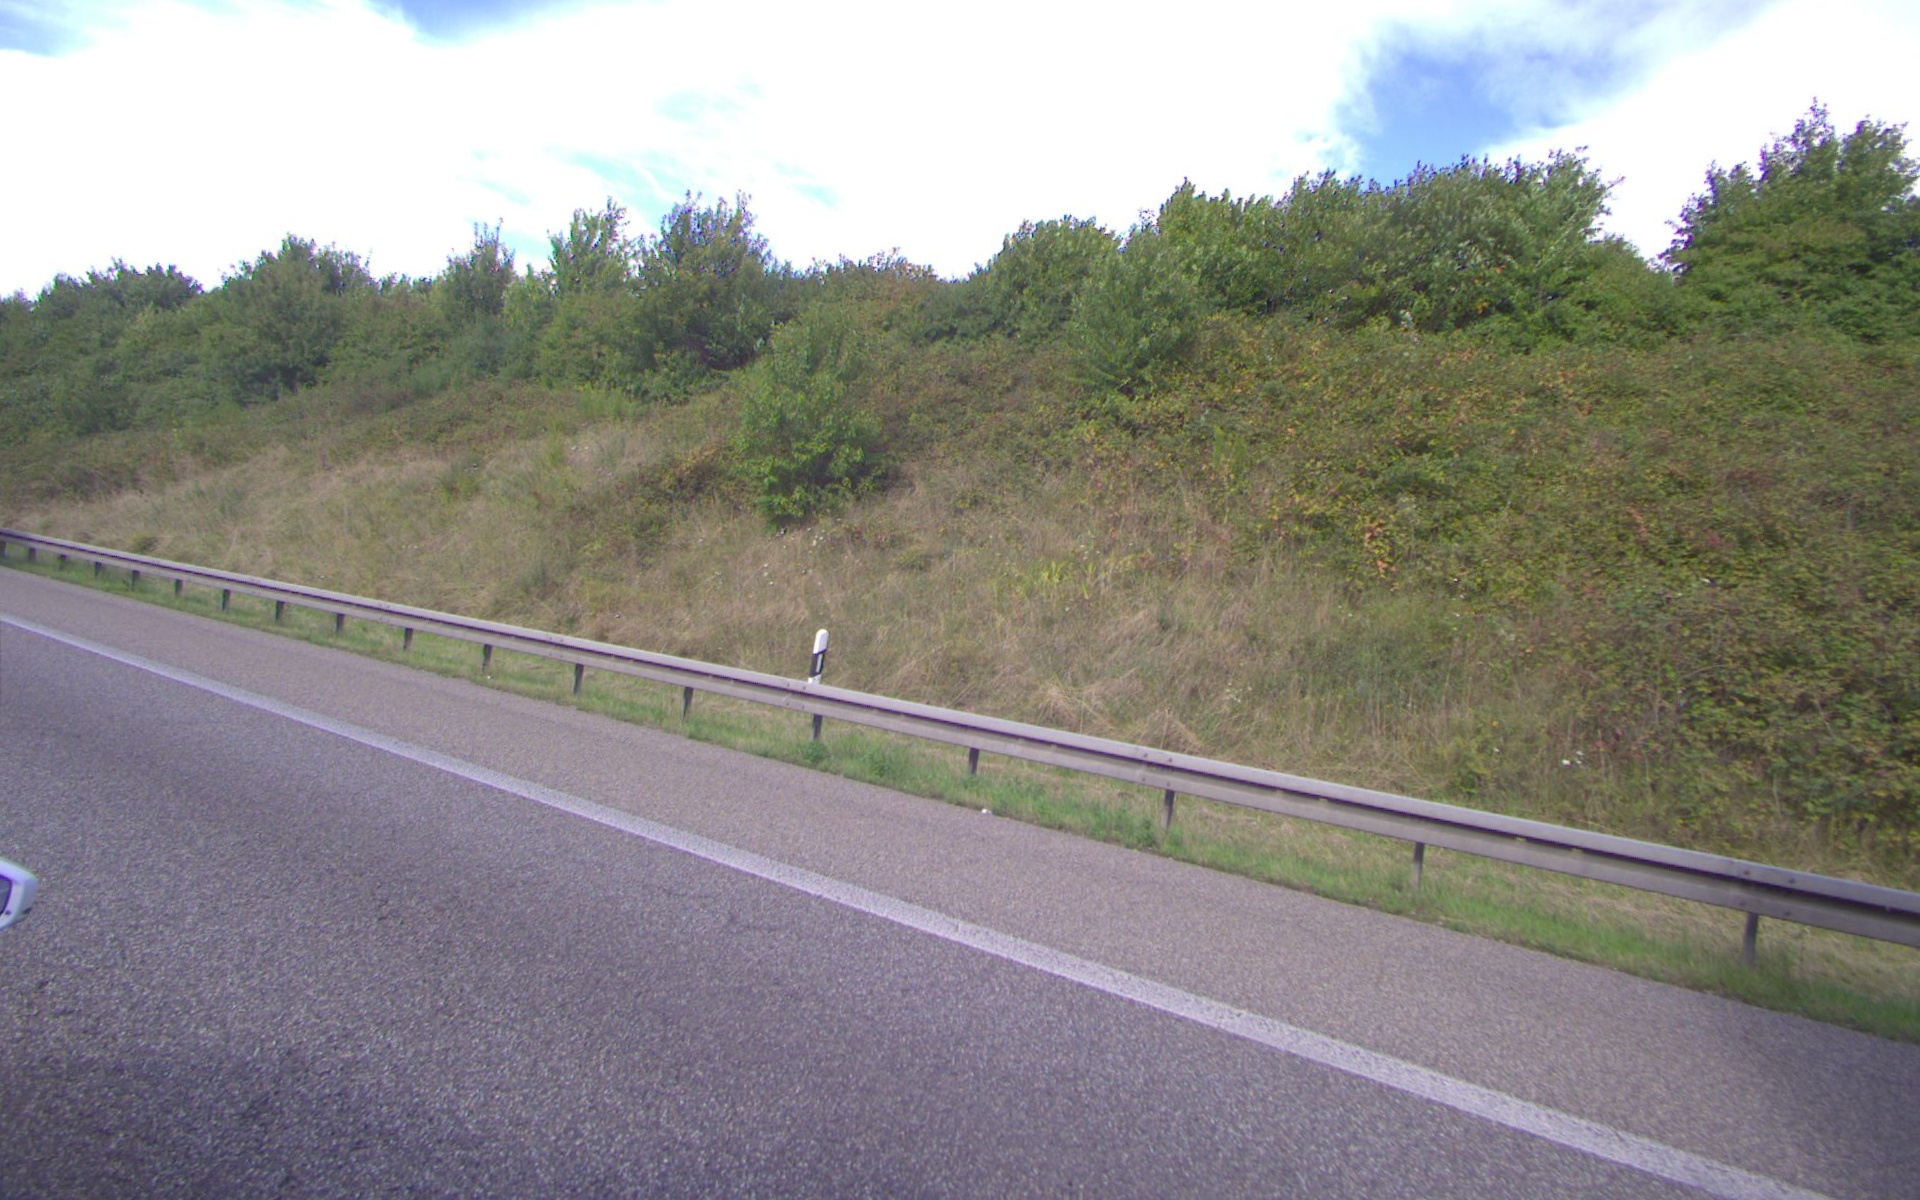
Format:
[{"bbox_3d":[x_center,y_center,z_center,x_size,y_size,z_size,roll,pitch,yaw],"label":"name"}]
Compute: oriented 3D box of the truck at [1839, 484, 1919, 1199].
[{"bbox_3d":[5.120,0.079,0.888,5.808,4.091,2.806,7,-1,33],"label":"truck"}]
